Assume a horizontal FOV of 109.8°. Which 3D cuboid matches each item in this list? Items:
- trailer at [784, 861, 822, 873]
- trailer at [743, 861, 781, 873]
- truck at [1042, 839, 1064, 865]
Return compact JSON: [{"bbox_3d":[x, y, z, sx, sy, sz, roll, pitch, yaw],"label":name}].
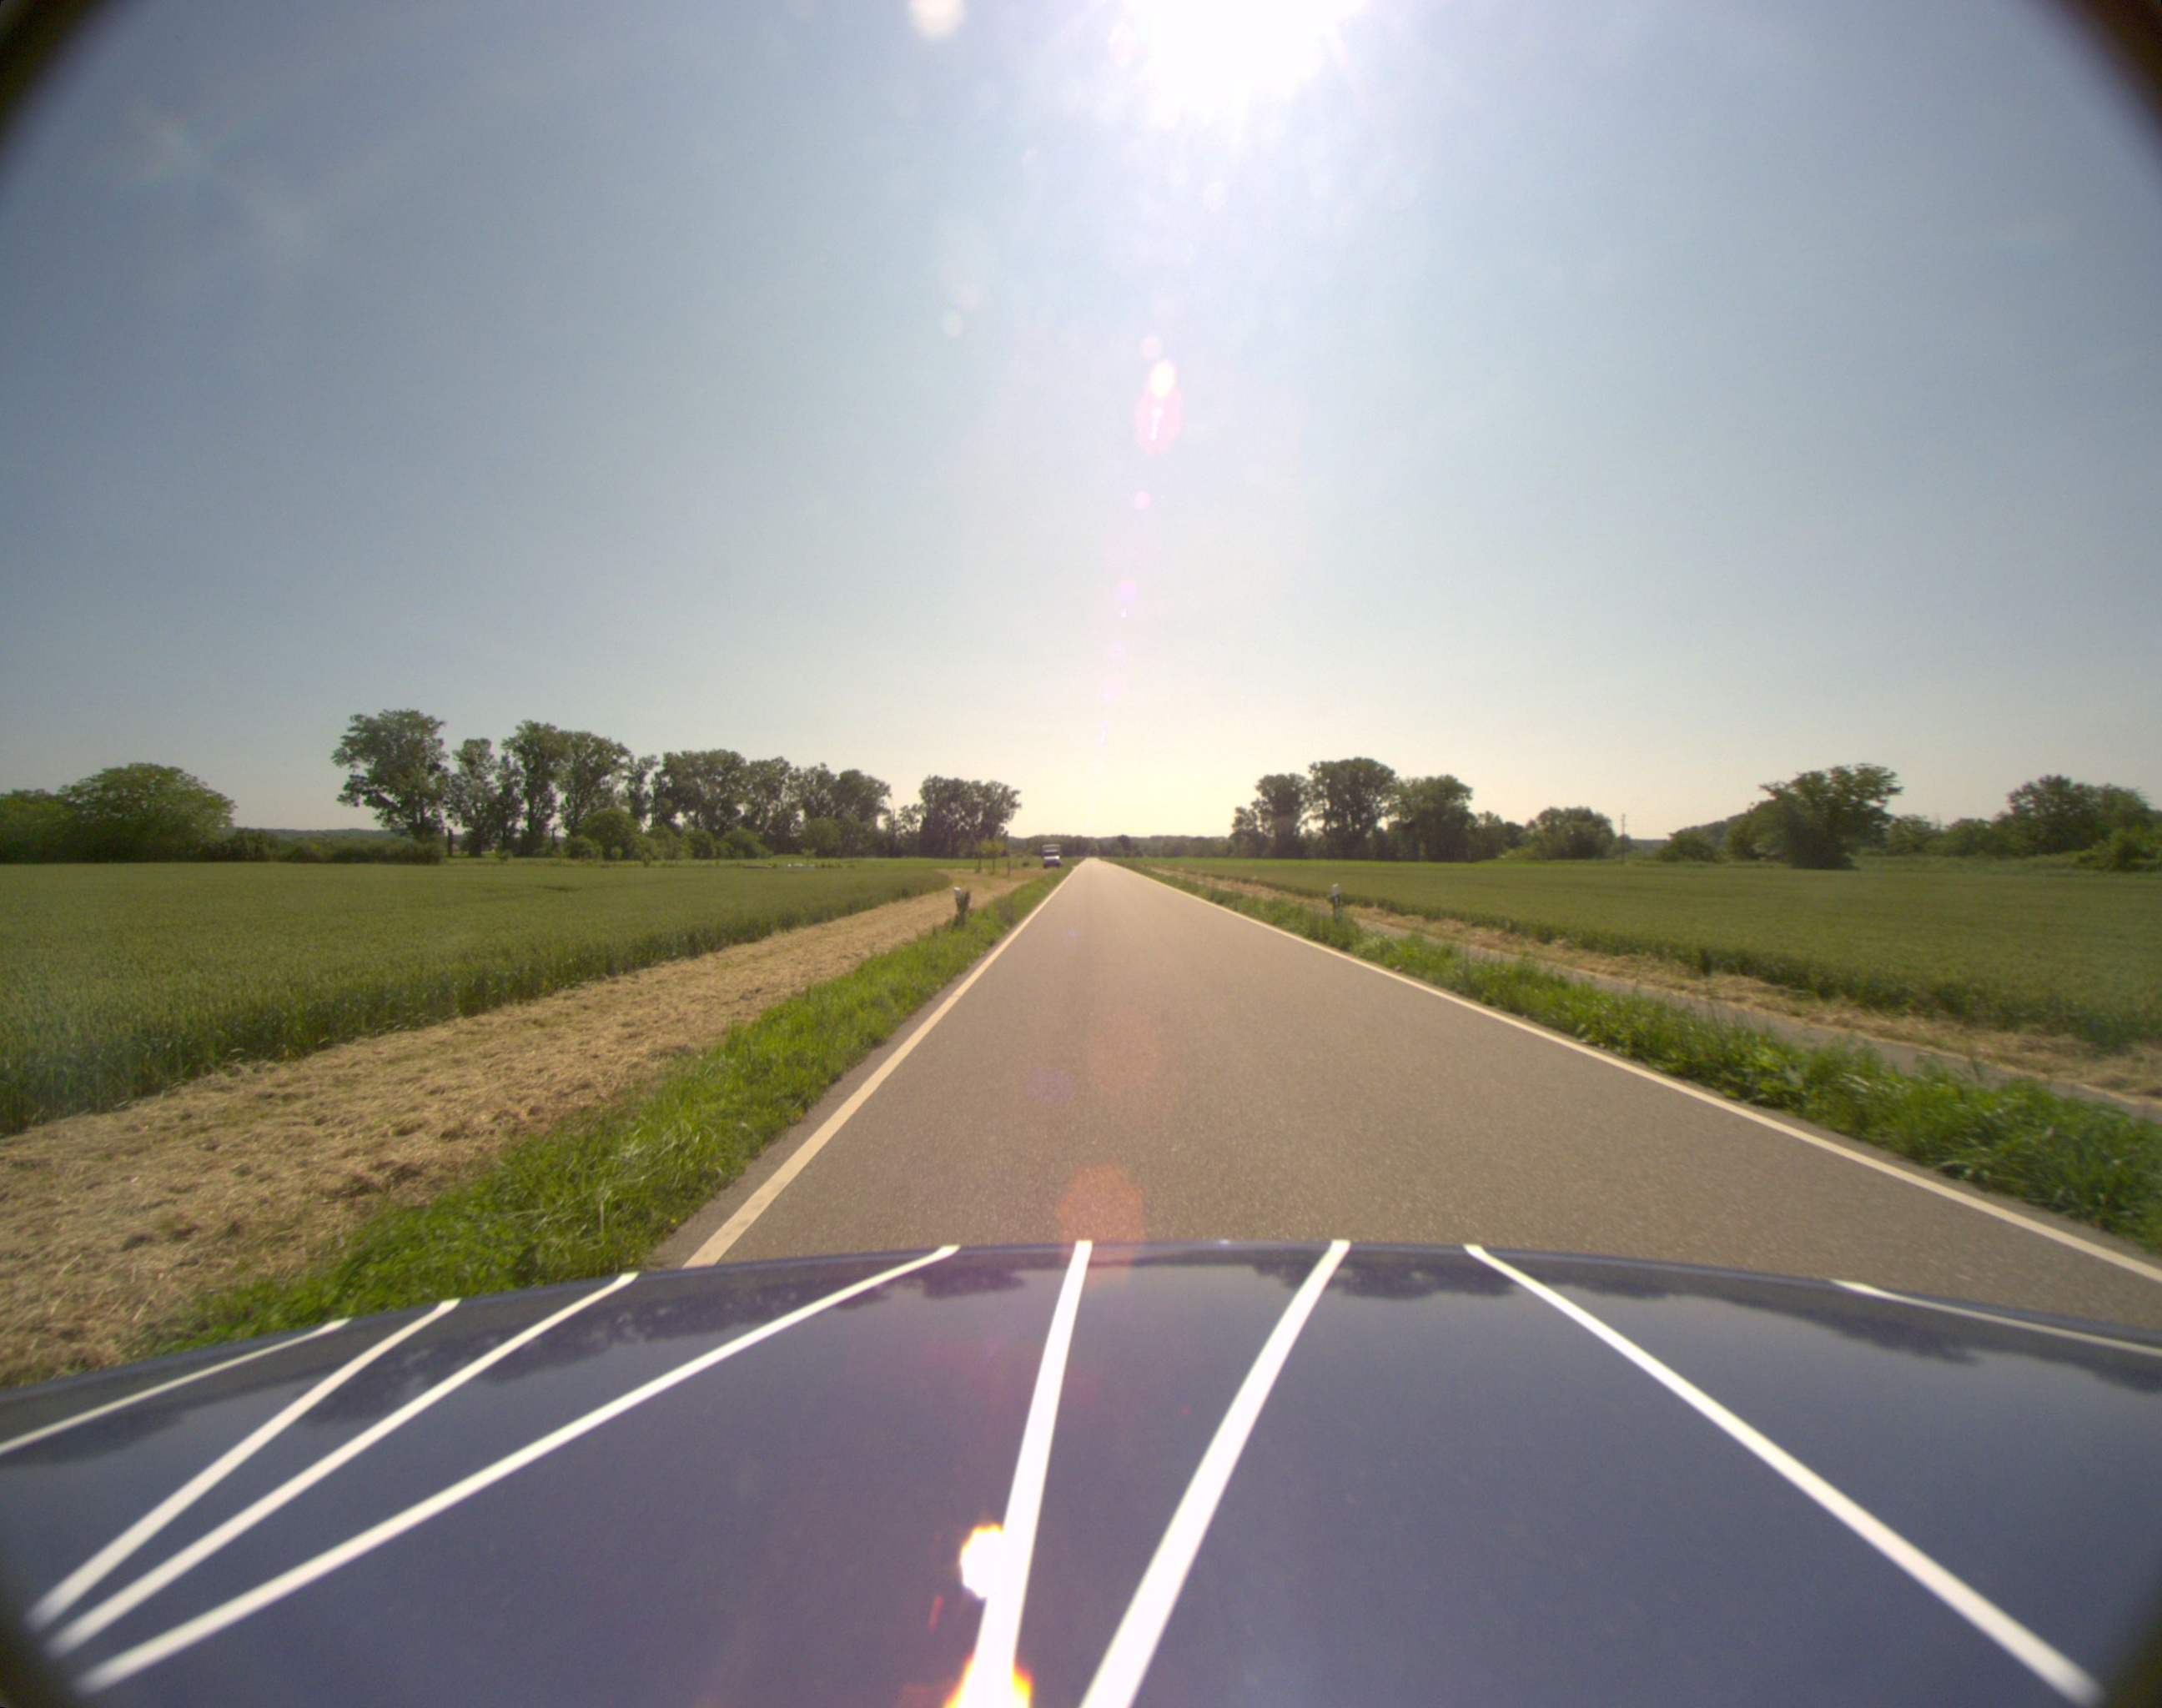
[{"bbox_3d":[-30.499,1.385,83.425,3.591,1.182,1.665,-2,1,13],"label":"trailer"},{"bbox_3d":[-35.488,1.432,84.577,3.543,1.182,1.665,-1,1,13],"label":"trailer"},{"bbox_3d":[-3.354,-0.220,92.945,2.341,2.925,7.007,-3,1,-1],"label":"truck"}]
